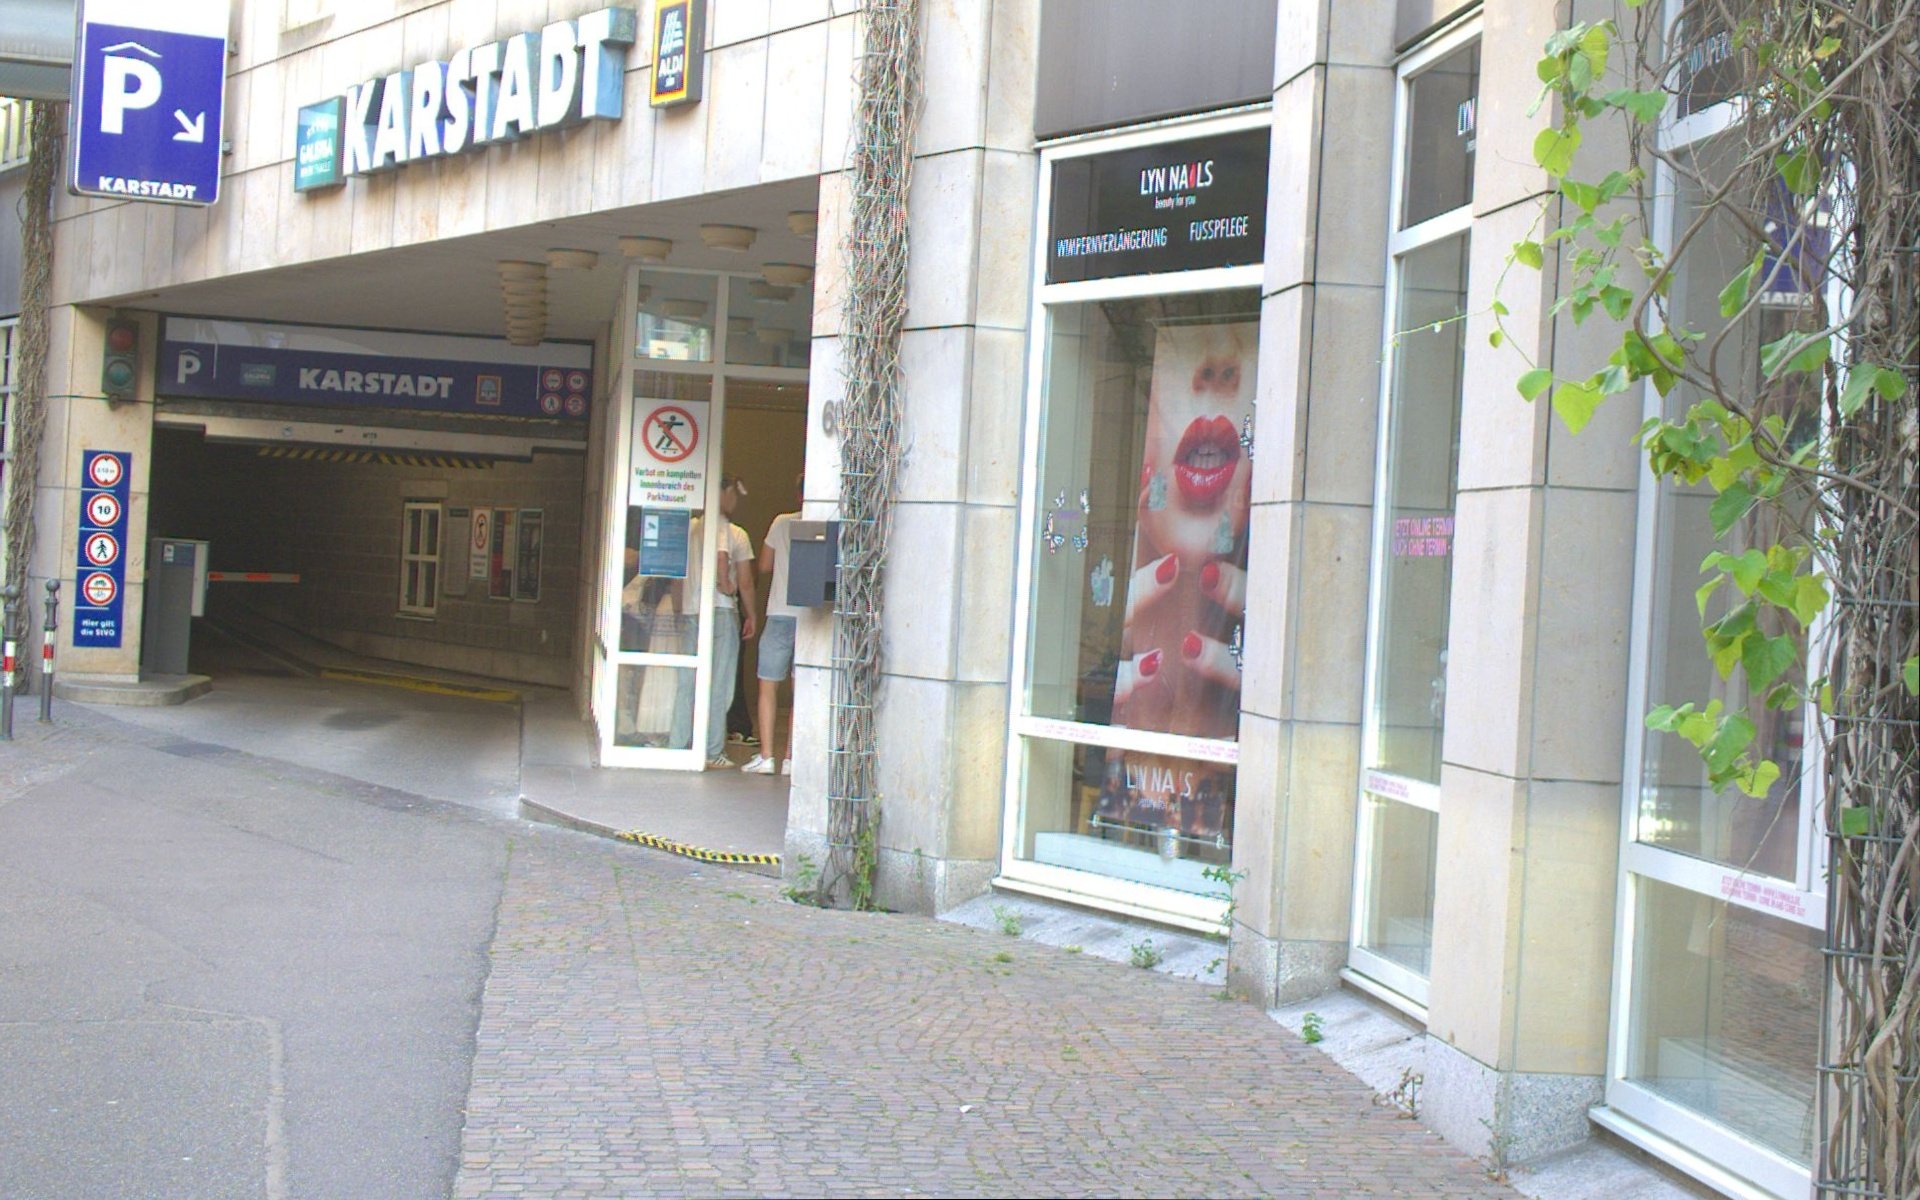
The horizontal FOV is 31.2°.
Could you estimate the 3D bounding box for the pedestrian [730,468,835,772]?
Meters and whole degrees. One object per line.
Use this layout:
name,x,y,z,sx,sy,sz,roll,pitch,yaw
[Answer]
pedestrian,-1.100,0.119,21.410,0.542,1.855,0.408,3,1,-1

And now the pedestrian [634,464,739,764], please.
pedestrian,-1.713,0.082,21.576,0.542,1.840,0.408,3,1,-1
